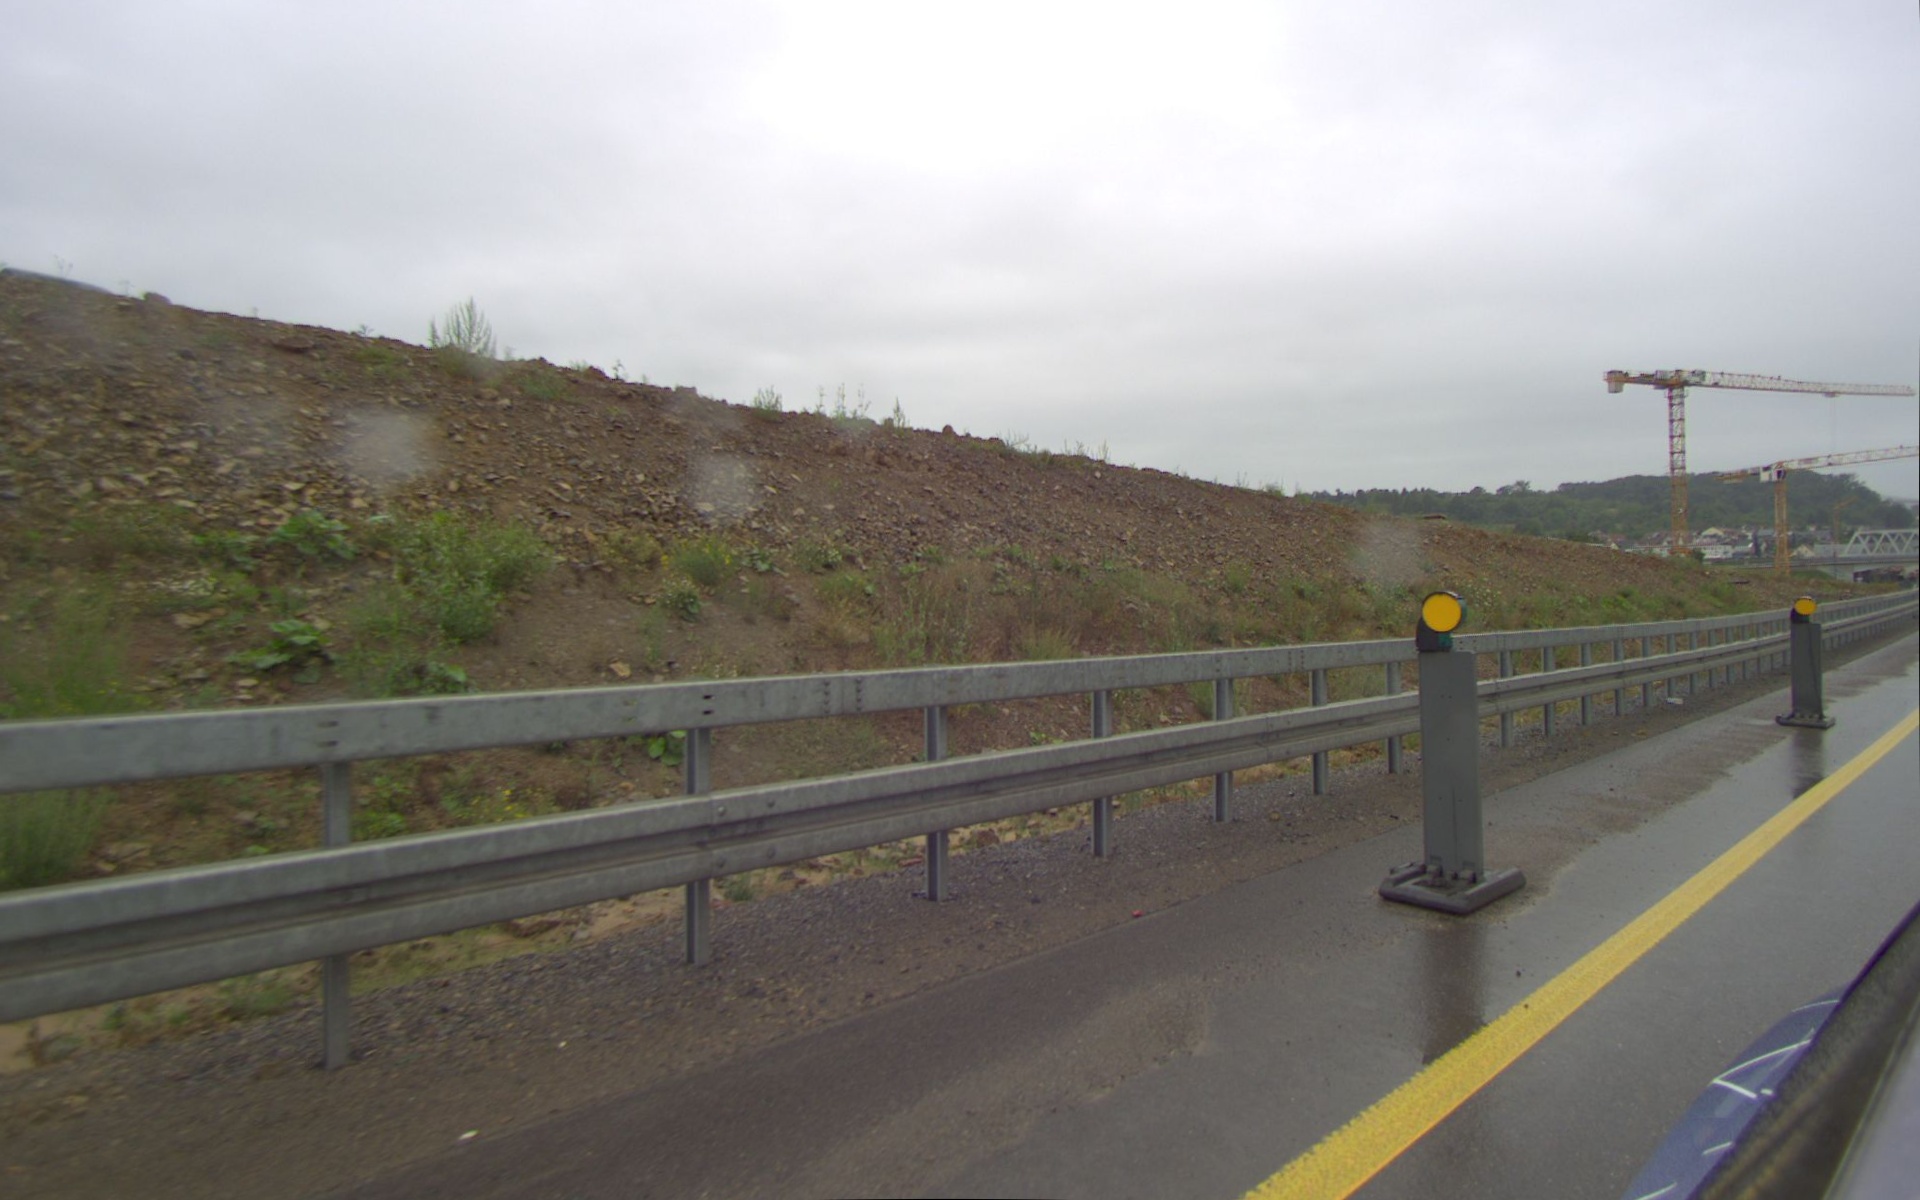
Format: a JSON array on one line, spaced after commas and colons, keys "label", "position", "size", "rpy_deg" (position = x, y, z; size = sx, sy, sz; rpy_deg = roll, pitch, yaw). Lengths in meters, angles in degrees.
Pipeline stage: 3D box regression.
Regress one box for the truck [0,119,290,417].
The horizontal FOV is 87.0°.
[{"label": "truck", "position": [-13.804, -4.328, 12.592], "size": [8.801, 2.910, 3.403], "rpy_deg": [-2, 2, -40]}]
